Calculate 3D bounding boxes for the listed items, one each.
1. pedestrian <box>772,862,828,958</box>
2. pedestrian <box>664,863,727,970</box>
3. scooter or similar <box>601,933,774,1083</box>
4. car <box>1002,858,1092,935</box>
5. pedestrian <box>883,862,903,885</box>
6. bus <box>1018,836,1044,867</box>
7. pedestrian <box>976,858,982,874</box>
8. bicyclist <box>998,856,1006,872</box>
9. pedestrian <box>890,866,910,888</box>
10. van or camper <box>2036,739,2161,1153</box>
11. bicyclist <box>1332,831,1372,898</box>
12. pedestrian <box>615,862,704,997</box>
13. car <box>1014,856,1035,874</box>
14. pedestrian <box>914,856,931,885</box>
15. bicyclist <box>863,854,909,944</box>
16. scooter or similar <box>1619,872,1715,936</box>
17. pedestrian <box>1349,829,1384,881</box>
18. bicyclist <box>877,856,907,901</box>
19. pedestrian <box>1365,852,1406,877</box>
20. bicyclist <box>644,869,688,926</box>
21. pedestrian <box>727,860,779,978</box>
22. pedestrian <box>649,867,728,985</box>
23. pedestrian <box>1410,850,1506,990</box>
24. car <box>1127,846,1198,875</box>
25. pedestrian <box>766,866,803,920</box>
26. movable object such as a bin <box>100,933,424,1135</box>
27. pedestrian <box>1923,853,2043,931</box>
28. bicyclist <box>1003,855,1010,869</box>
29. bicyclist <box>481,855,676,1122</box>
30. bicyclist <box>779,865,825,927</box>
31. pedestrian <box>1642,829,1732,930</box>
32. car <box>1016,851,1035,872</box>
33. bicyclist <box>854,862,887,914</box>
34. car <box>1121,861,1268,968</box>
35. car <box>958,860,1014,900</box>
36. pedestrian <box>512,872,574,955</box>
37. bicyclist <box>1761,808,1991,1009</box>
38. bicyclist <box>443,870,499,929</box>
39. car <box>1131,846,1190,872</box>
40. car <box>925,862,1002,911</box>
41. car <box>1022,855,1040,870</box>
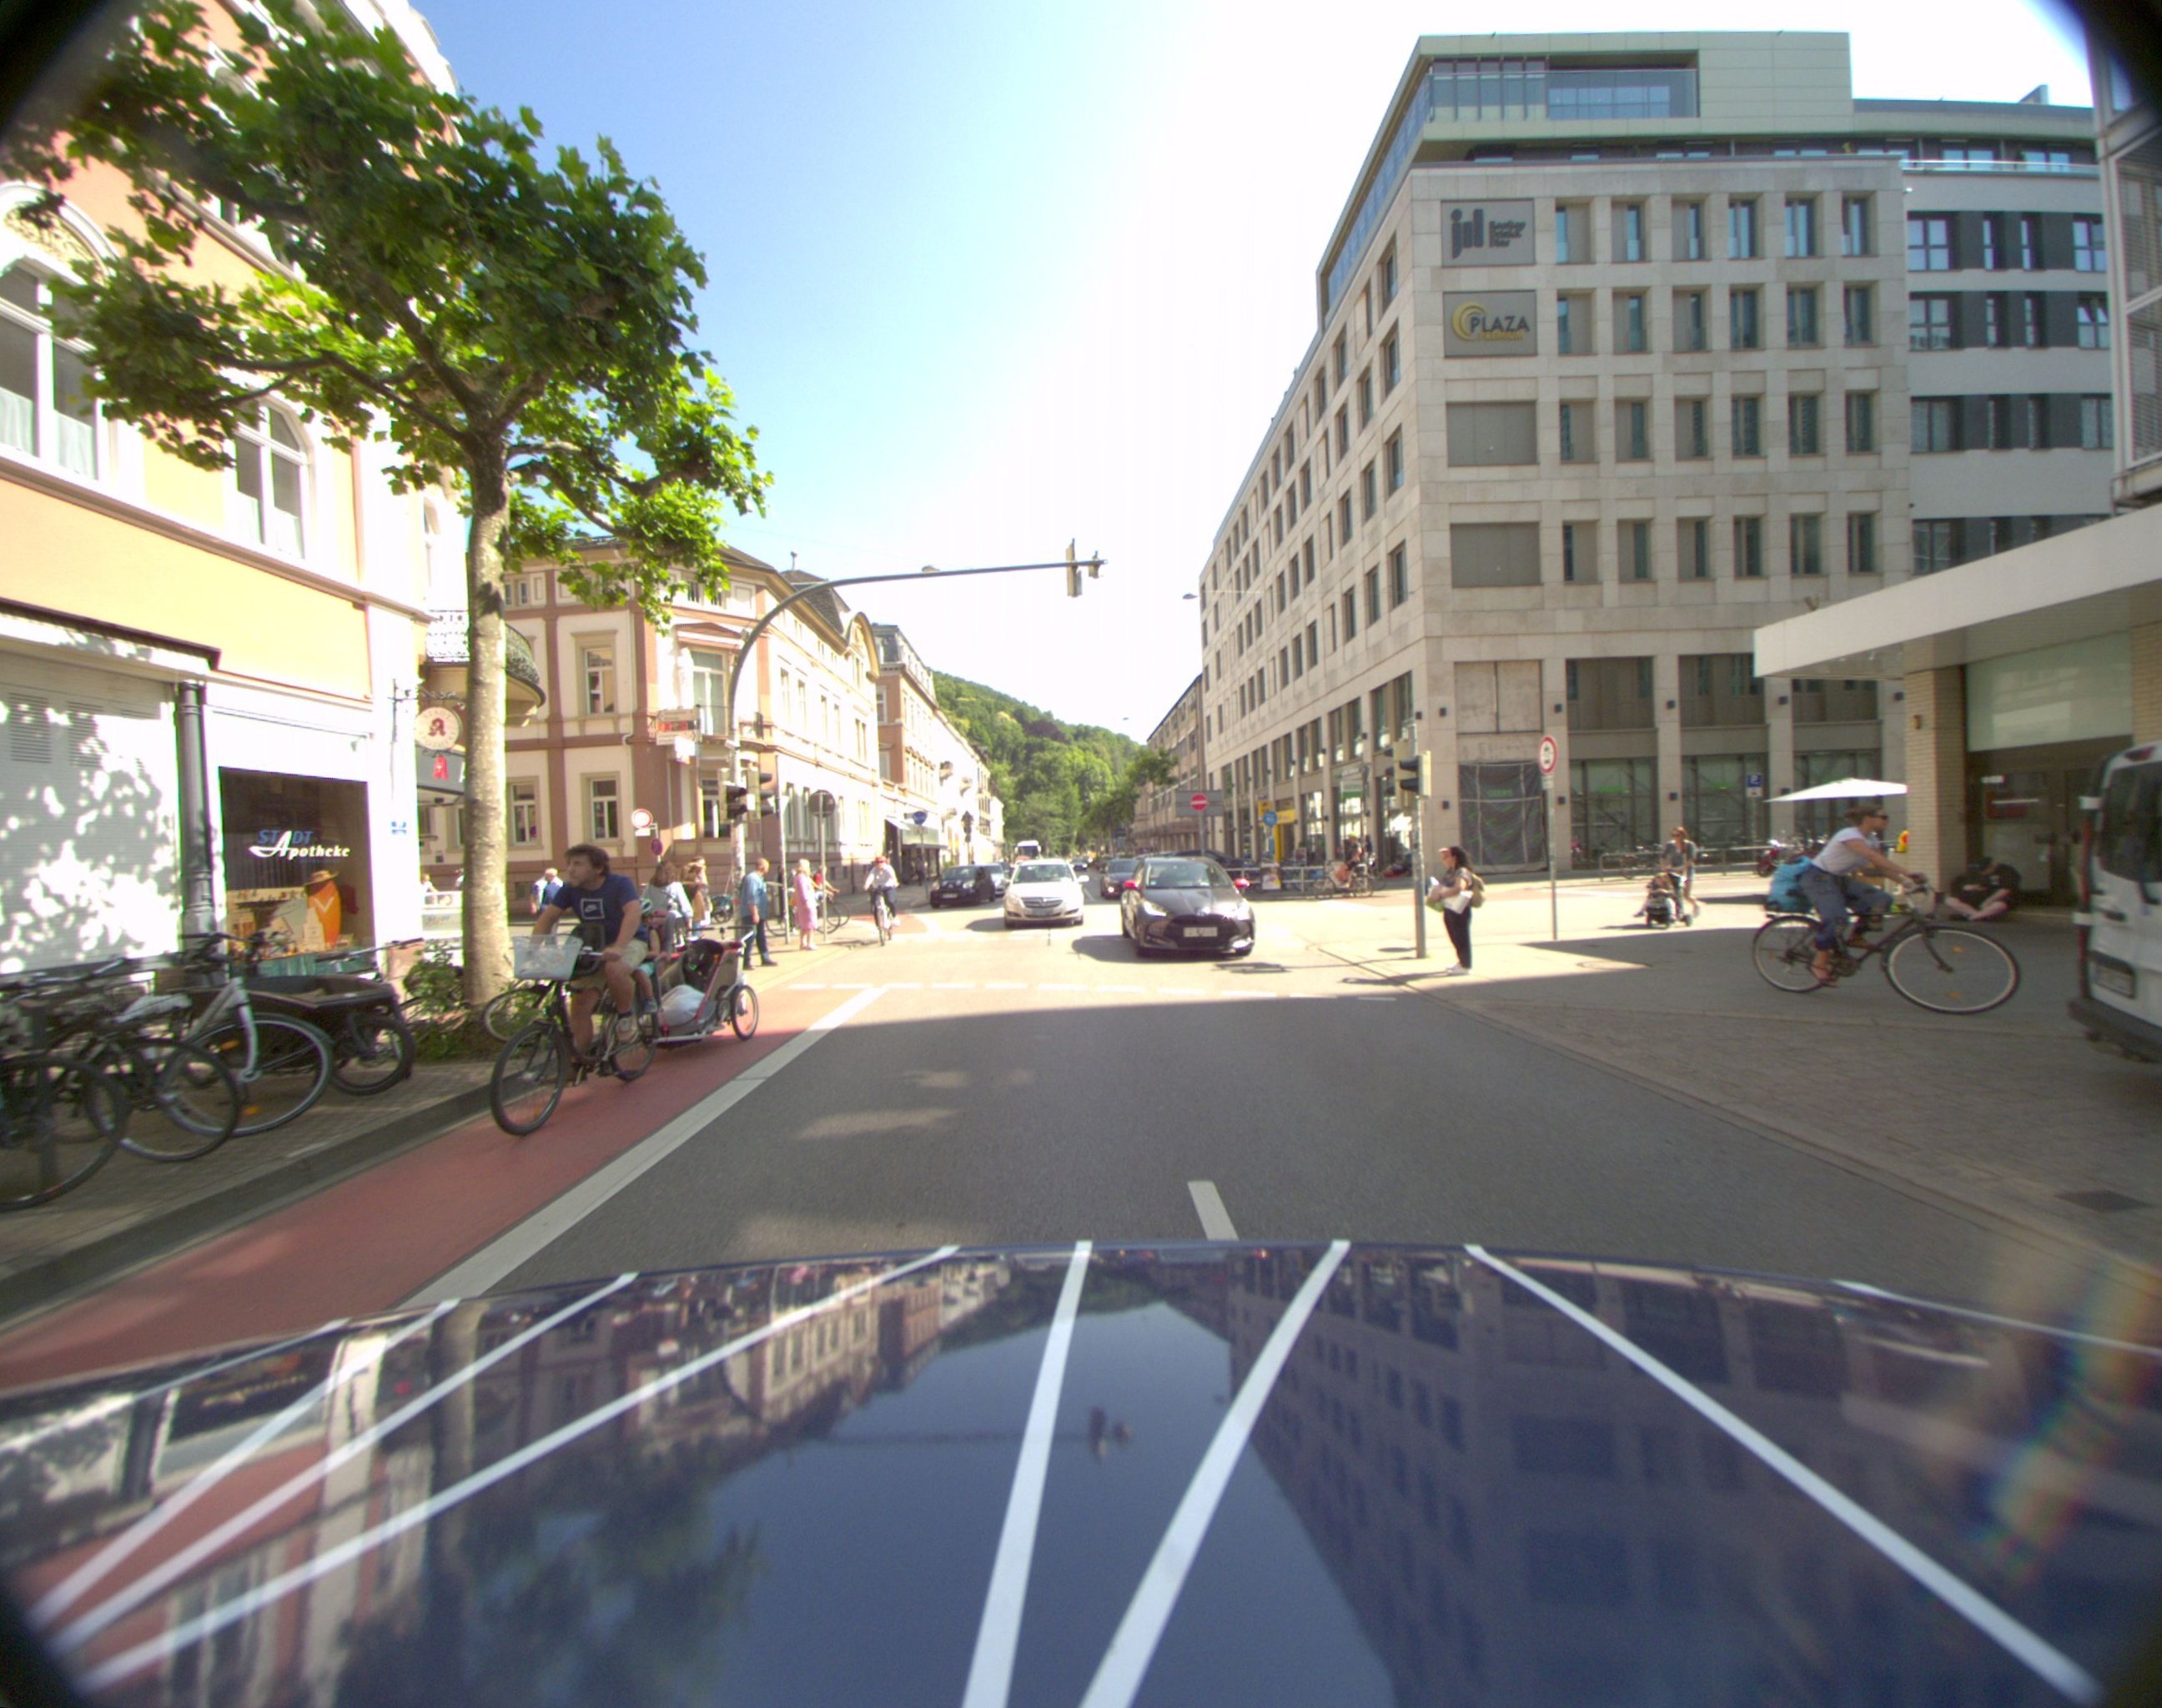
[{"bbox_3d":[-5.277,1.032,14.306,0.641,1.700,0.789,-4,2,-4],"label":"pedestrian"},{"bbox_3d":[-6.919,1.102,13.662,0.640,1.832,0.615,-4,1,11],"label":"pedestrian"},{"bbox_3d":[-3.415,1.308,6.705,0.785,1.054,1.126,-4,1,7],"label":"scooter or similar"},{"bbox_3d":[-0.841,0.888,17.809,1.791,1.484,4.366,-2,0,-4],"label":"car"},{"bbox_3d":[-11.215,1.165,45.281,1.032,1.308,0.625,-1,1,-2],"label":"pedestrian"},{"bbox_3d":[-6.242,-0.359,95.992,2.924,3.516,12.495,-1,1,-3],"label":"bus"},{"bbox_3d":[-10.430,1.236,77.758,0.482,1.659,0.868,-2,1,-2],"label":"pedestrian"},{"bbox_3d":[-8.334,1.031,80.320,0.747,1.693,1.035,-1,1,-1],"label":"bicyclist"},{"bbox_3d":[-10.944,1.392,45.979,1.089,1.308,0.625,1,1,-2],"label":"pedestrian"},{"bbox_3d":[7.231,0.314,2.523,4.648,2.002,2.004,-4,0,38],"label":"van or camper"},{"bbox_3d":[8.163,0.309,22.936,0.843,1.948,1.017,-2,1,5],"label":"bicyclist"},{"bbox_3d":[-5.899,1.029,10.671,0.789,1.784,0.641,-4,0,-4],"label":"pedestrian"},{"bbox_3d":[-5.480,1.017,74.211,1.799,1.516,4.262,-6,1,-4],"label":"car"},{"bbox_3d":[-10.097,1.047,48.448,0.840,1.781,0.767,-1,1,-1],"label":"pedestrian"},{"bbox_3d":[-3.900,0.872,15.265,0.685,1.707,0.844,-4,1,-9],"label":"bicyclist"},{"bbox_3d":[9.883,0.820,12.828,0.974,0.959,0.900,-3,1,-22],"label":"scooter or similar"},{"bbox_3d":[10.941,0.030,29.135,0.840,1.868,0.844,-6,1,-1],"label":"pedestrian"},{"bbox_3d":[-7.289,0.938,29.329,0.910,1.707,0.844,-1,1,-1],"label":"bicyclist"},{"bbox_3d":[11.968,0.413,29.916,1.253,0.920,0.841,-2,0,-3],"label":"pedestrian"},{"bbox_3d":[-11.945,1.242,21.892,0.747,1.564,0.844,-1,1,-1],"label":"bicyclist"},{"bbox_3d":[-5.164,0.999,11.979,0.453,1.784,0.607,-4,0,-3],"label":"pedestrian"},{"bbox_3d":[-5.881,1.052,11.427,0.789,1.680,0.641,-2,0,-4],"label":"pedestrian"},{"bbox_3d":[4.432,0.750,8.959,0.641,1.550,0.680,-4,0,-13],"label":"pedestrian"},{"bbox_3d":[5.732,0.481,53.203,4.493,1.424,1.865,-7,0,18],"label":"car"},{"bbox_3d":[-9.510,1.227,24.360,0.904,1.603,0.974,-2,4,-30],"label":"pedestrian"},{"bbox_3d":[-5.658,1.221,5.270,1.853,1.182,0.653,-4,0,14],"label":"movable object such as a bin"},{"bbox_3d":[13.488,0.549,11.390,0.723,1.051,0.841,-6,1,-3],"label":"pedestrian"},{"bbox_3d":[-8.488,0.864,86.504,0.747,1.564,0.844,-1,1,-1],"label":"bicyclist"},{"bbox_3d":[-3.365,0.854,5.160,0.732,1.664,0.774,-1,1,4],"label":"bicyclist"},{"bbox_3d":[-6.519,0.970,17.777,0.861,1.403,0.501,-2,1,0],"label":"bicyclist"},{"bbox_3d":[10.521,0.433,13.210,0.845,1.649,0.840,-3,0,-20],"label":"pedestrian"},{"bbox_3d":[-5.808,0.794,79.914,1.703,1.901,4.606,-7,0,-4],"label":"car"},{"bbox_3d":[-7.174,1.142,25.915,0.840,1.707,0.844,-1,1,-1],"label":"bicyclist"},{"bbox_3d":[1.686,0.875,12.630,1.868,1.469,4.107,0,-1,1],"label":"car"},{"bbox_3d":[-4.042,1.077,33.096,1.957,1.416,4.885,-4,0,-2],"label":"car"},{"bbox_3d":[-11.126,1.215,15.729,0.640,1.648,0.791,-2,-2,10],"label":"pedestrian"},{"bbox_3d":[6.692,0.427,6.465,0.736,1.530,1.076,-3,0,-9],"label":"bicyclist"},{"bbox_3d":[-17.567,1.301,21.884,1.157,1.652,0.573,-1,0,3],"label":"bicyclist"},{"bbox_3d":[5.862,0.360,56.199,3.998,1.519,1.819,-6,2,-2],"label":"car"},{"bbox_3d":[-4.110,1.091,27.184,1.632,1.470,3.733,-3,1,8],"label":"car"},{"bbox_3d":[-5.573,0.922,84.937,1.869,1.479,4.413,-2,0,-4],"label":"car"}]
